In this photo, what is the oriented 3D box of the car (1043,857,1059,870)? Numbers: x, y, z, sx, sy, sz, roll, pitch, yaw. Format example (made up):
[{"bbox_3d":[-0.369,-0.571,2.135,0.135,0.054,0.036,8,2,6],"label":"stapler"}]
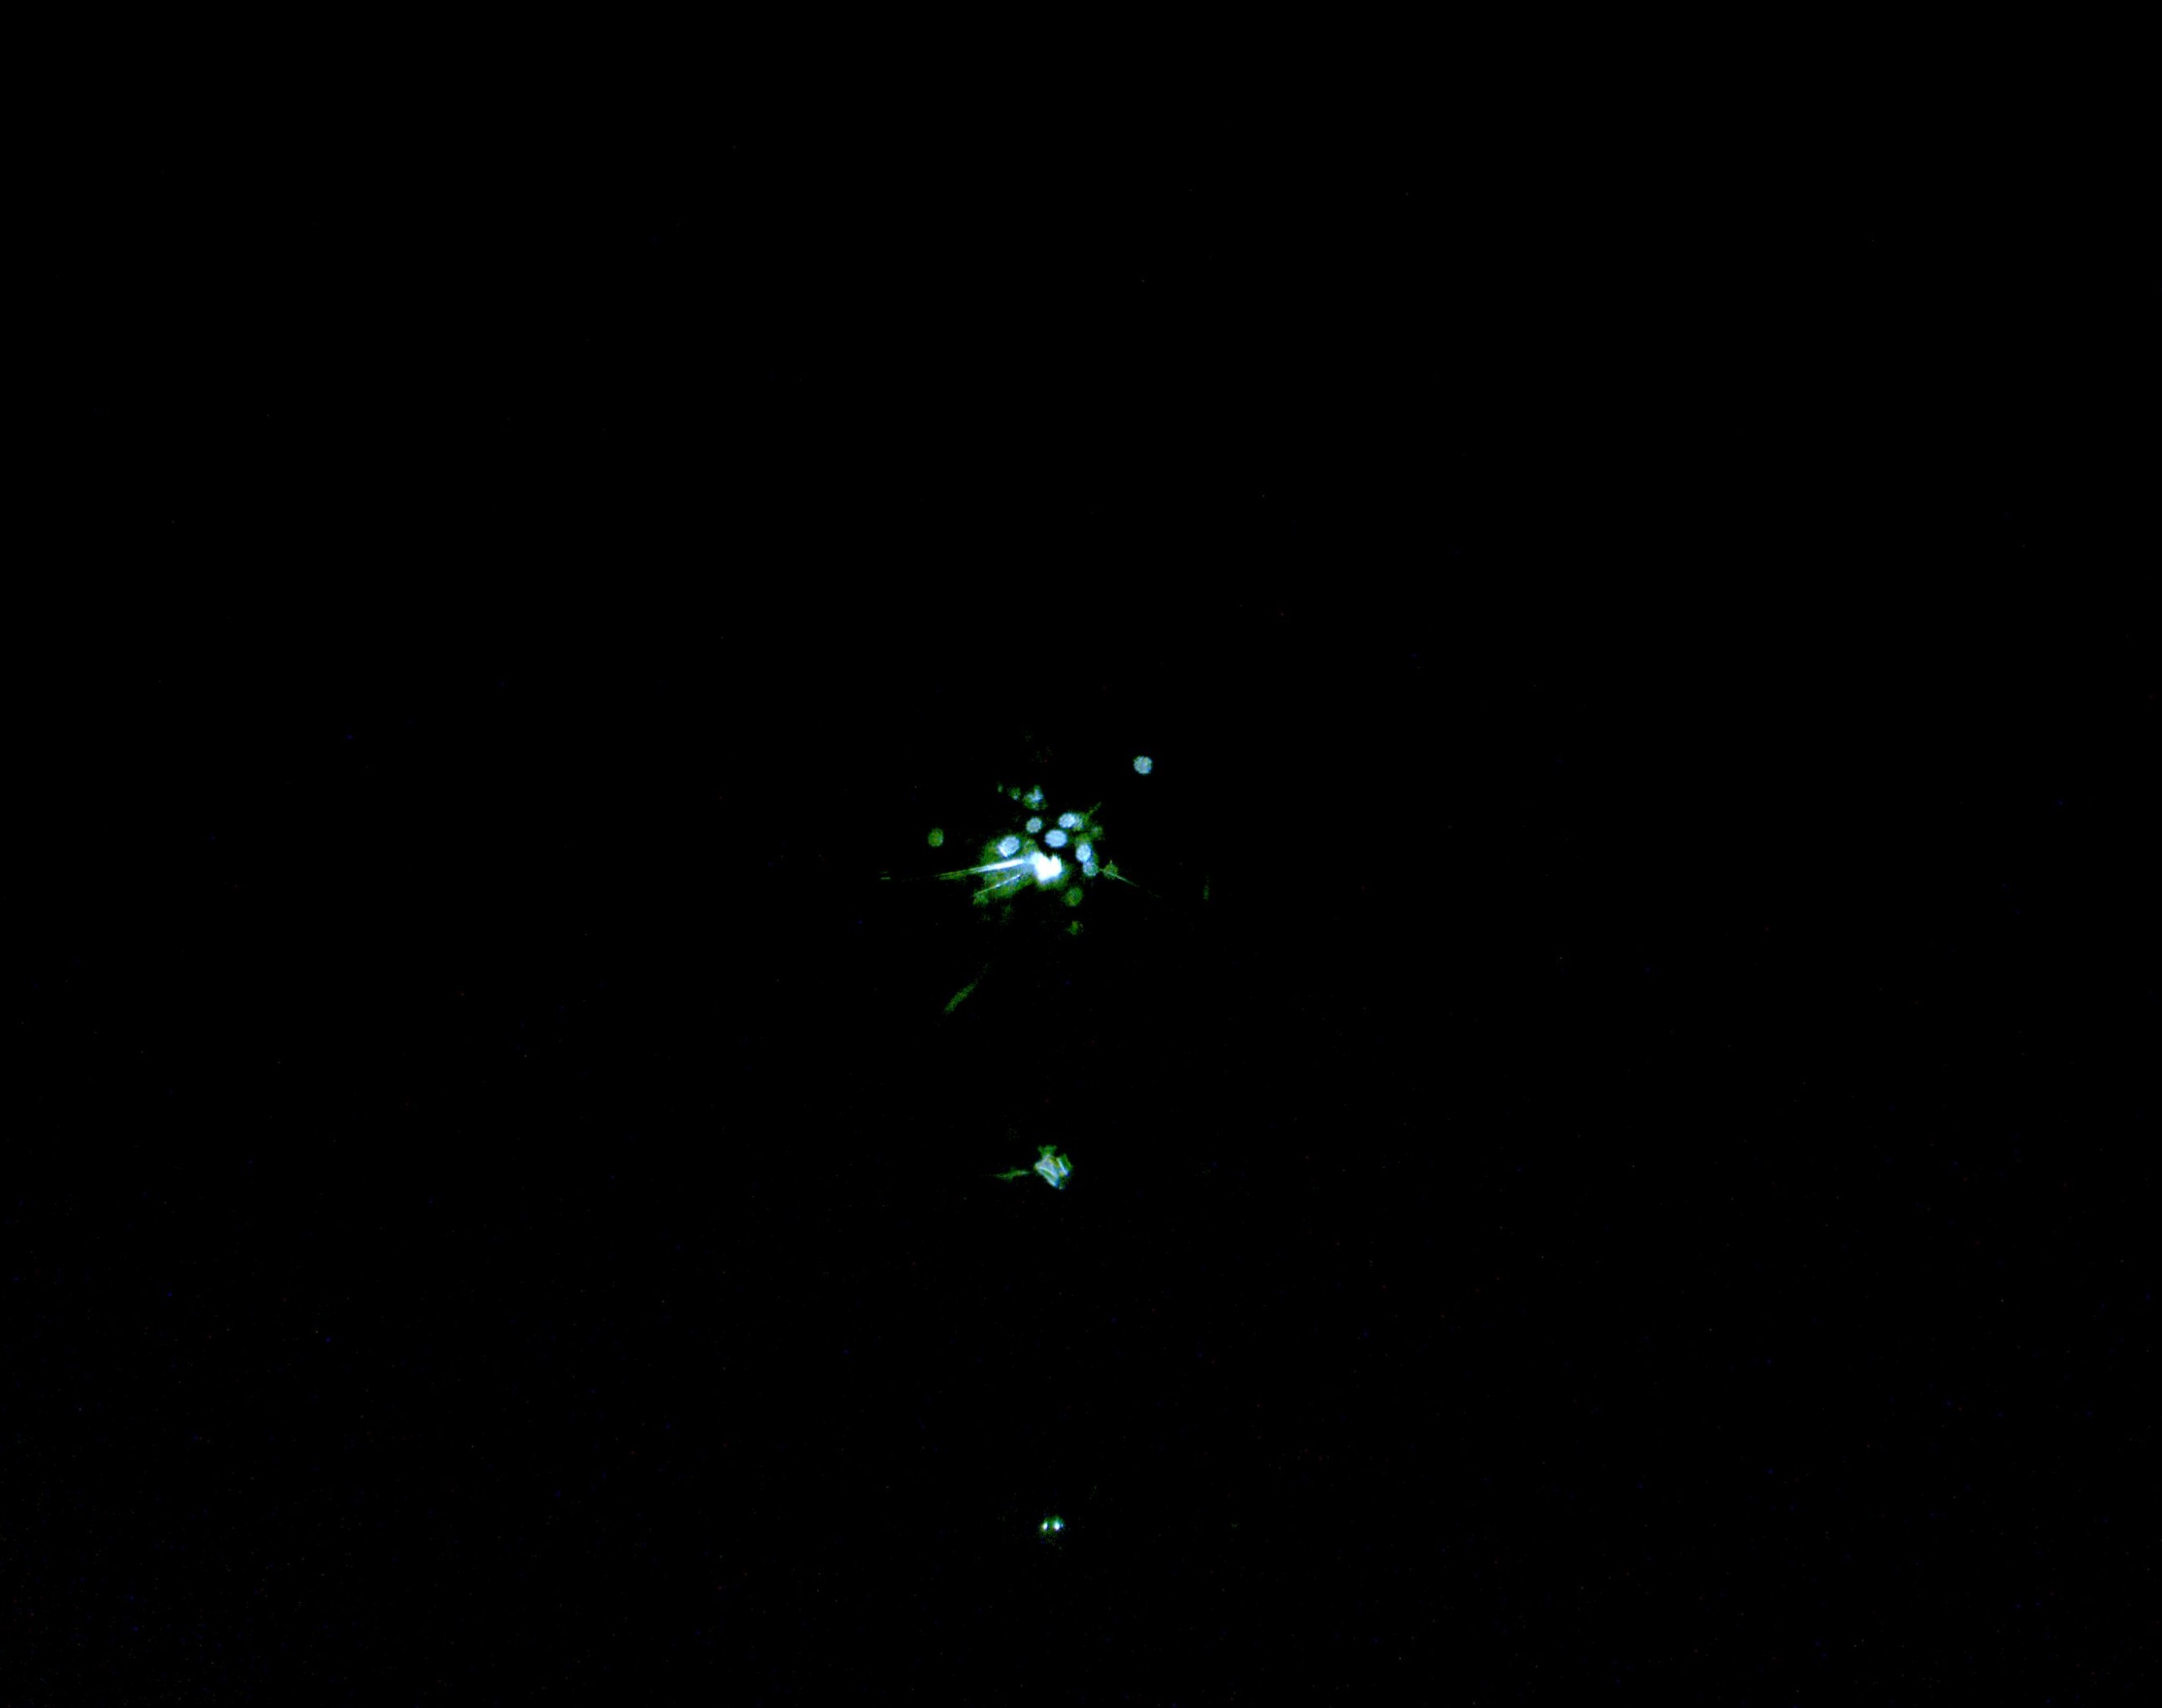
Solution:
[{"bbox_3d":[-3.529,1.101,96.670,1.824,1.568,3.778,0,0,-1],"label":"car"}]
